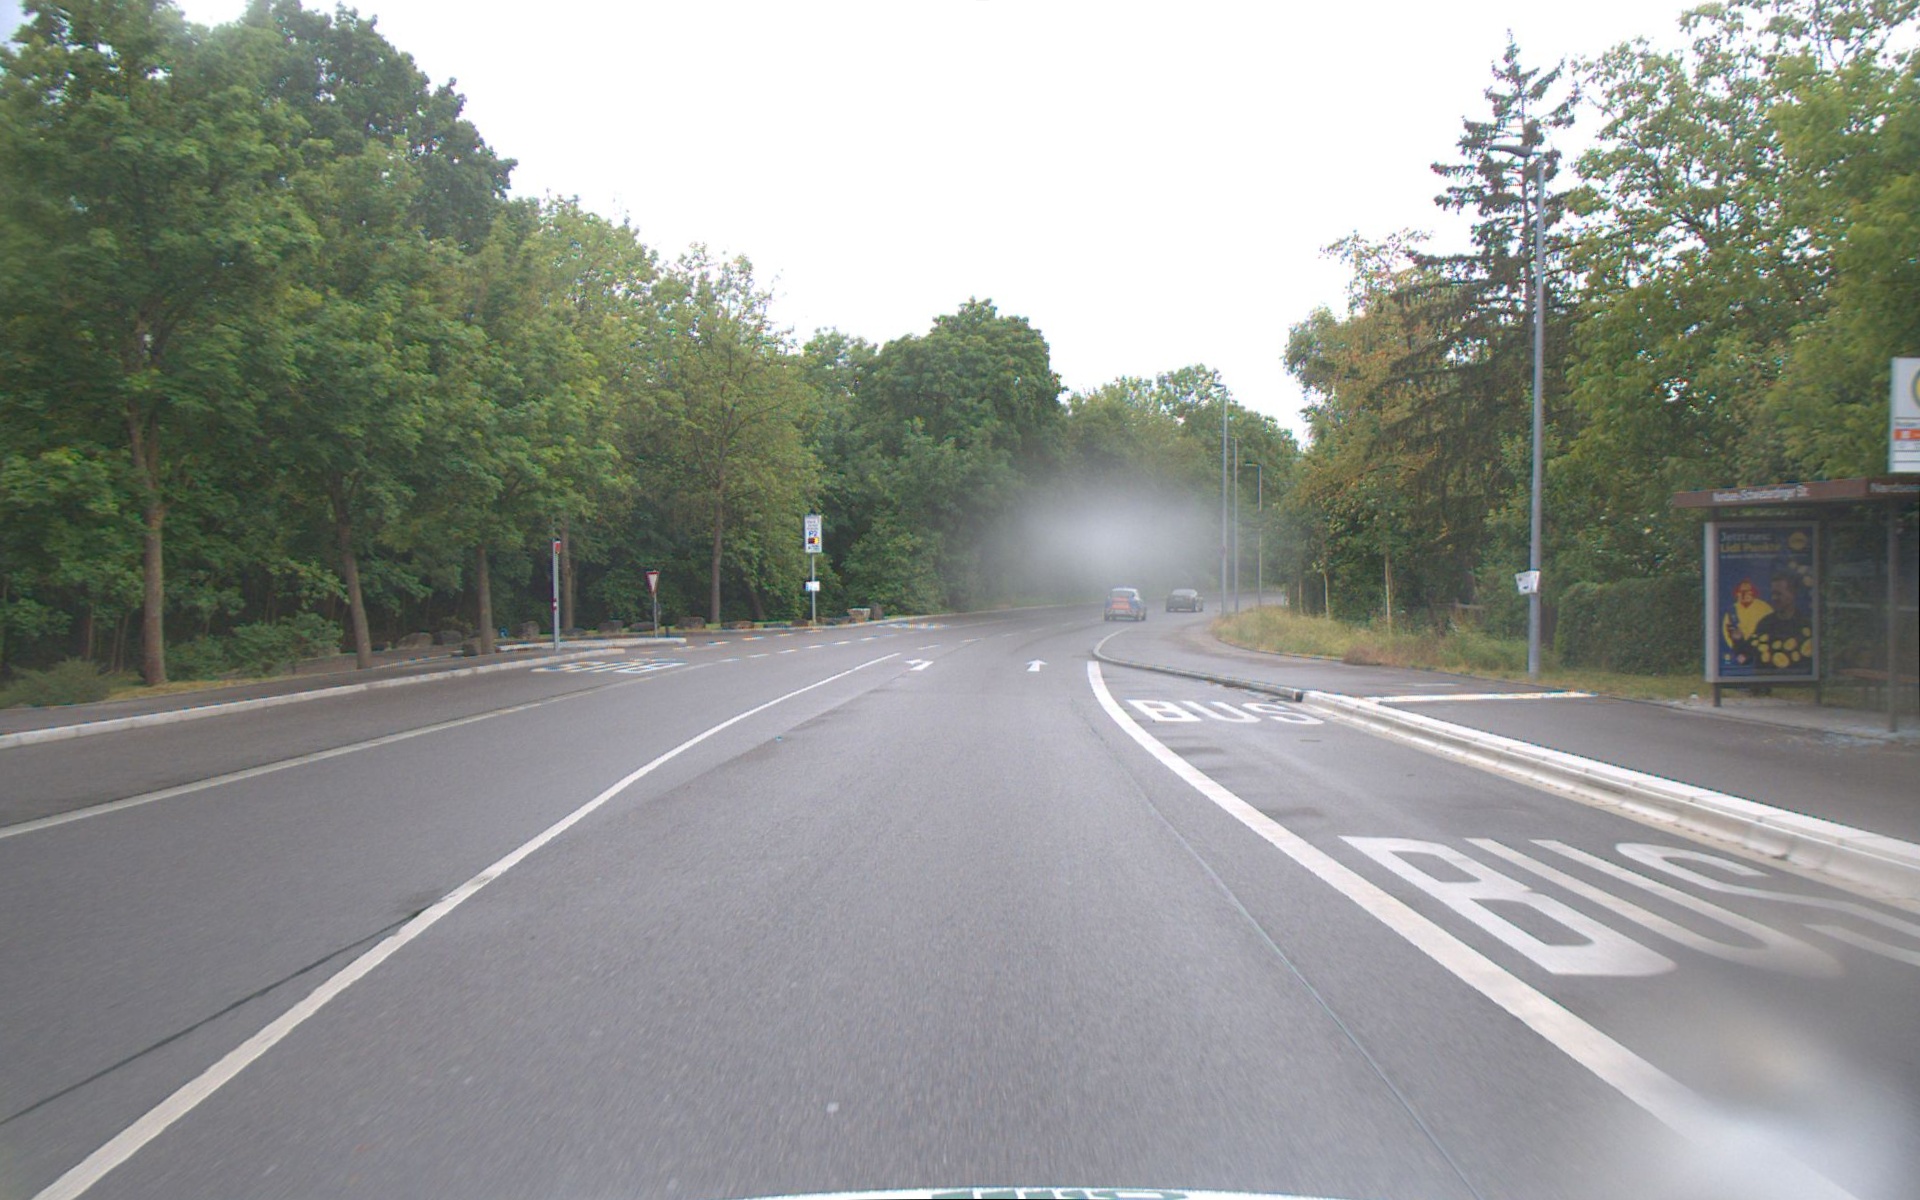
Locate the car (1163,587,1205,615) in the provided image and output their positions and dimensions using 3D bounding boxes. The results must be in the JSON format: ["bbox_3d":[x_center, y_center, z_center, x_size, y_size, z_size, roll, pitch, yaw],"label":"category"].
[{"bbox_3d":[13.673,0.046,100.637,1.886,1.512,3.802,-1,2,17],"label":"car"}]

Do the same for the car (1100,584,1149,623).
[{"bbox_3d":[8.053,0.141,80.669,1.951,1.718,4.005,-1,2,11],"label":"car"}]
